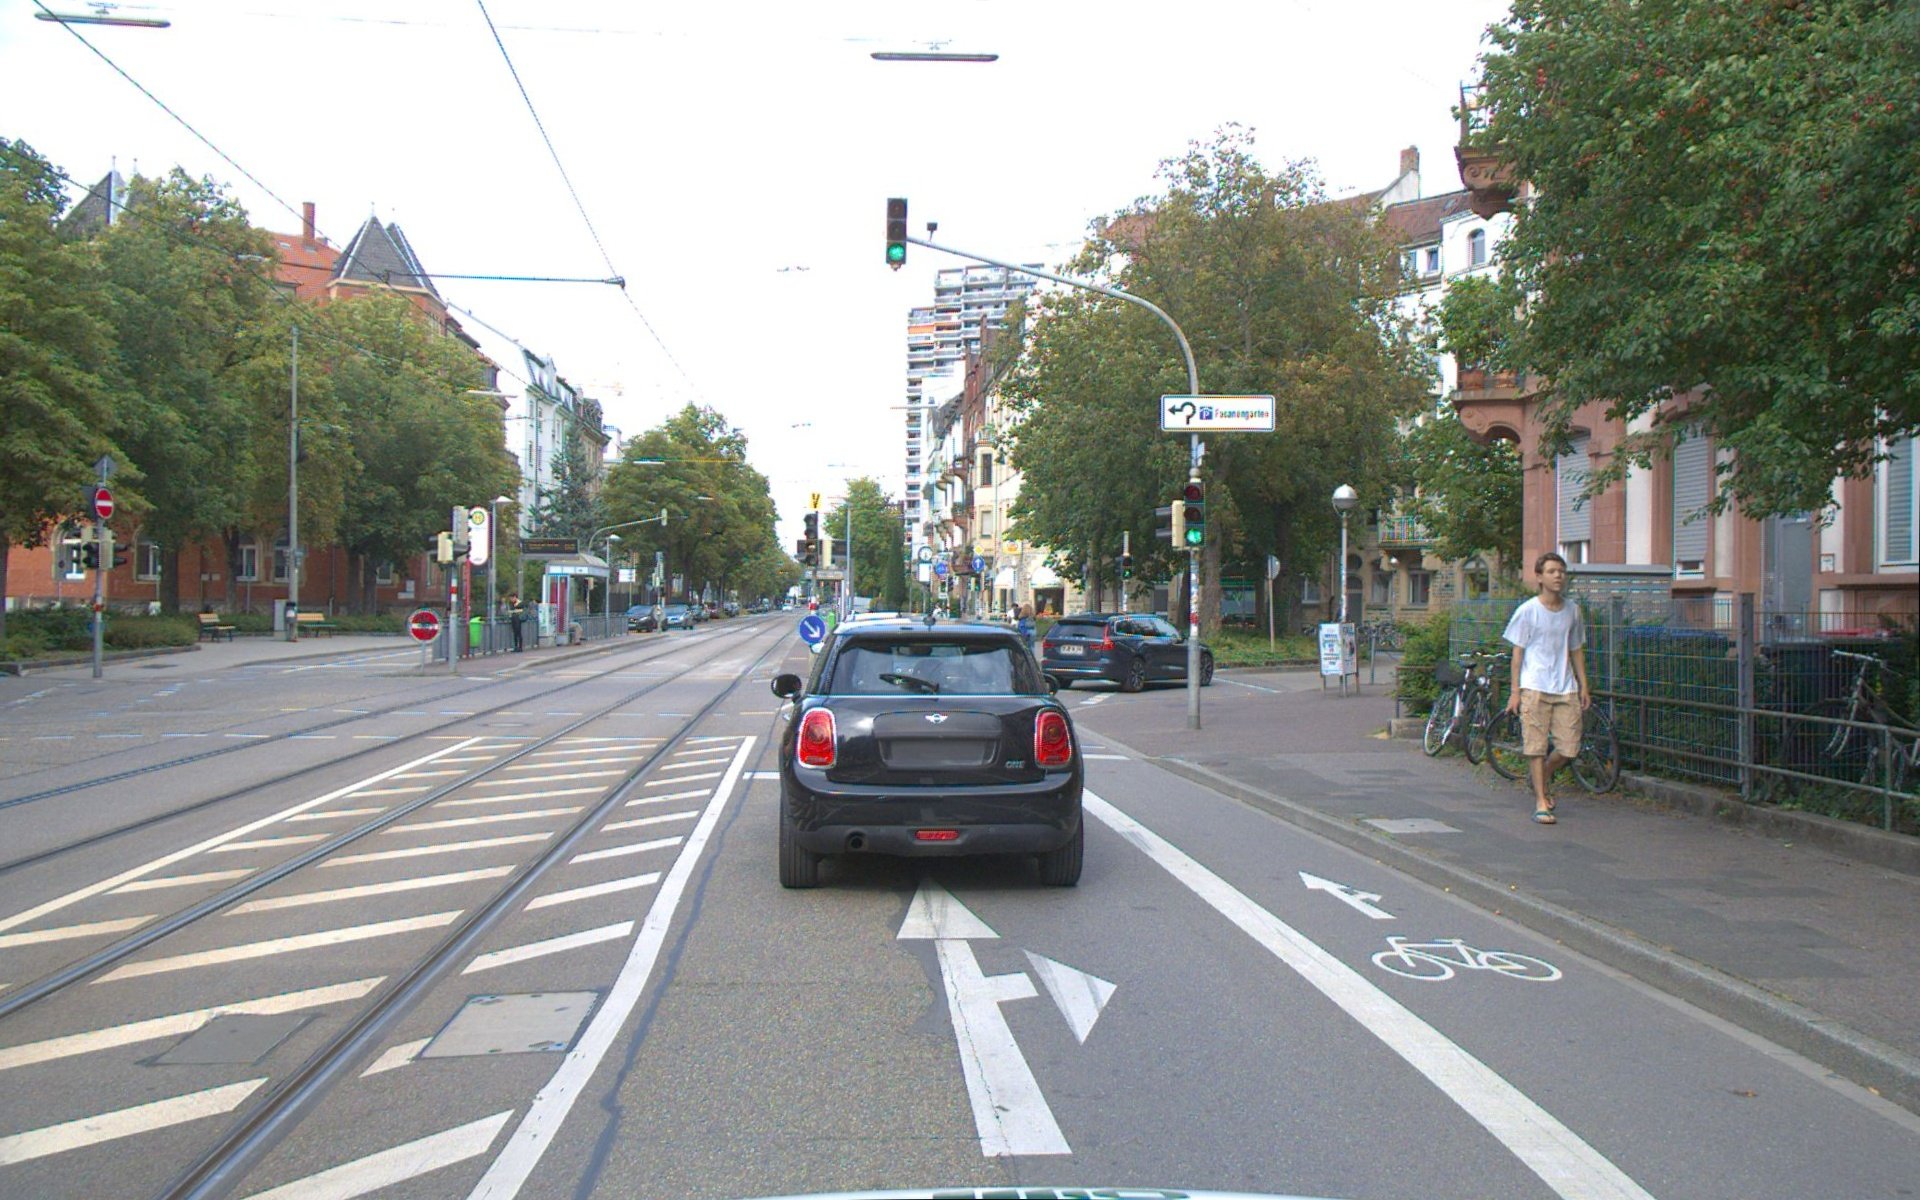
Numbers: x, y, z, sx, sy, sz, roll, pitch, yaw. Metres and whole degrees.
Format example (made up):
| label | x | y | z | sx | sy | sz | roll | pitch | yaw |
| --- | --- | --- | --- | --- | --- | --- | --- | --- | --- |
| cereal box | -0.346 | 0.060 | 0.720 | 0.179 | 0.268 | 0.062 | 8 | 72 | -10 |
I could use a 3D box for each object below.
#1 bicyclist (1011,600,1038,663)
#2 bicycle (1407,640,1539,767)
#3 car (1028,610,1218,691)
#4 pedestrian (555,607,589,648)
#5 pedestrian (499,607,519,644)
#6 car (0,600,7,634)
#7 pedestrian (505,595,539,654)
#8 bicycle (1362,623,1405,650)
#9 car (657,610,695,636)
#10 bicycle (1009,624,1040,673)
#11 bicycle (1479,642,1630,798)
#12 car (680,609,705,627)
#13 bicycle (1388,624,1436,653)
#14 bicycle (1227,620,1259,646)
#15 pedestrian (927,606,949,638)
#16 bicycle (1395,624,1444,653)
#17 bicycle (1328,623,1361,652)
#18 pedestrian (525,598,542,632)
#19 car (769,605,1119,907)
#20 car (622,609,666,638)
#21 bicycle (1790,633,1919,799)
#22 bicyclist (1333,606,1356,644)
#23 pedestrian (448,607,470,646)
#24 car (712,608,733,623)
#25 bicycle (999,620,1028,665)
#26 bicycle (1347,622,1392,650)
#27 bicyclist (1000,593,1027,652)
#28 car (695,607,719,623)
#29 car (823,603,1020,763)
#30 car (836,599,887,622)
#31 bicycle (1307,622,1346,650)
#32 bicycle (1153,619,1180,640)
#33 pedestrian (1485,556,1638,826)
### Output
| label | x | y | z | sx | sy | sz | roll | pitch | yaw |
| --- | --- | --- | --- | --- | --- | --- | --- | --- | --- |
| bicyclist | 1.623 | 0.790 | 41.750 | 0.583 | 1.577 | 1.013 | 0 | 0 | -5 |
| bicycle | 4.924 | 0.965 | 15.977 | 0.658 | 1.125 | 1.670 | 0 | 0 | -4 |
| car | 3.259 | 0.936 | 32.304 | 1.722 | 1.466 | 4.462 | 0 | -1 | 36 |
| pedestrian | -12.770 | 0.907 | 54.456 | 1.039 | 1.316 | 0.983 | 1 | -1 | -10 |
| pedestrian | -21.468 | 1.214 | 78.684 | 0.817 | 1.733 | 0.731 | 0 | 0 | -10 |
| car | -44.579 | 0.757 | 73.378 | 3.903 | 1.504 | 1.816 | 0 | -1 | 18 |
| pedestrian | -12.307 | 0.693 | 46.501 | 0.836 | 1.649 | 0.841 | 1 | -1 | -10 |
| bicycle | 17.706 | 1.524 | 69.143 | 1.865 | 1.147 | 0.589 | 1 | -1 | -28 |
| car | -16.781 | 1.353 | 97.958 | 1.717 | 1.466 | 3.997 | 2 | -1 | -3 |
| bicycle | 1.624 | 1.208 | 41.751 | 0.586 | 1.191 | 1.695 | 0 | 0 | -4 |
| bicycle | 4.721 | 0.921 | 13.231 | 0.498 | 1.107 | 1.548 | -3 | 0 | -4 |
| car | -22.046 | 1.469 | 136.342 | 1.732 | 1.420 | 3.995 | 0 | 0 | -5 |
| bicycle | 18.446 | 1.558 | 67.479 | 1.852 | 1.147 | 0.532 | 1 | -1 | -9 |
| bicycle | 12.960 | 1.504 | 75.656 | 0.654 | 1.147 | 1.886 | 0 | -1 | 37 |
| pedestrian | -1.195 | 1.199 | 89.951 | 0.719 | 1.703 | 0.830 | -3 | 0 | 42 |
| bicycle | 18.572 | 1.563 | 66.903 | 1.852 | 1.147 | 0.532 | 1 | -1 | -9 |
| bicycle | 15.033 | 1.468 | 64.664 | 0.603 | 1.095 | 1.817 | 0 | 0 | -9 |
| pedestrian | -22.125 | 0.782 | 85.796 | 0.680 | 1.749 | 0.757 | 0 | 0 | -3 |
| car | -0.259 | 0.802 | 10.322 | 1.718 | 1.466 | 3.995 | 2 | -1 | -6 |
| car | -16.848 | 1.238 | 88.407 | 1.717 | 1.466 | 3.997 | 2 | -1 | -3 |
| bicycle | 6.214 | 0.731 | 10.672 | 1.515 | 1.026 | 0.509 | 0 | 0 | -7 |
| bicyclist | 15.038 | 0.967 | 64.678 | 0.603 | 1.498 | 0.913 | 0 | 0 | -10 |
| pedestrian | -22.420 | 1.182 | 73.990 | 0.817 | 1.733 | 0.731 | 0 | 0 | -10 |
| car | -26.661 | 1.736 | 185.770 | 1.954 | 1.579 | 3.996 | 1 | 0 | -4 |
| bicycle | 1.448 | 1.138 | 45.197 | 0.670 | 1.191 | 1.696 | 0 | 0 | -3 |
| bicycle | 17.314 | 1.524 | 69.948 | 1.861 | 1.147 | 0.579 | 1 | -1 | -22 |
| bicyclist | 1.453 | 0.618 | 45.146 | 0.670 | 1.591 | 0.997 | 0 | 0 | -3 |
| car | -24.904 | 1.493 | 162.890 | 1.954 | 1.579 | 3.996 | 1 | 0 | -4 |
| car | -0.511 | 0.812 | 17.935 | 1.889 | 1.536 | 3.996 | 0 | 0 | -4 |
| car | -10.074 | 1.103 | 169.738 | 2.357 | 2.312 | 5.003 | 0 | -1 | 45 |
| bicycle | 16.005 | 1.563 | 72.204 | 1.872 | 1.147 | 0.526 | -1 | 0 | -36 |
| bicycle | 9.833 | 1.388 | 78.859 | 0.522 | 0.989 | 1.642 | 0 | -1 | 37 |
| pedestrian | 4.131 | 0.601 | 11.418 | 0.715 | 1.784 | 0.949 | 0 | 0 | 0 |
